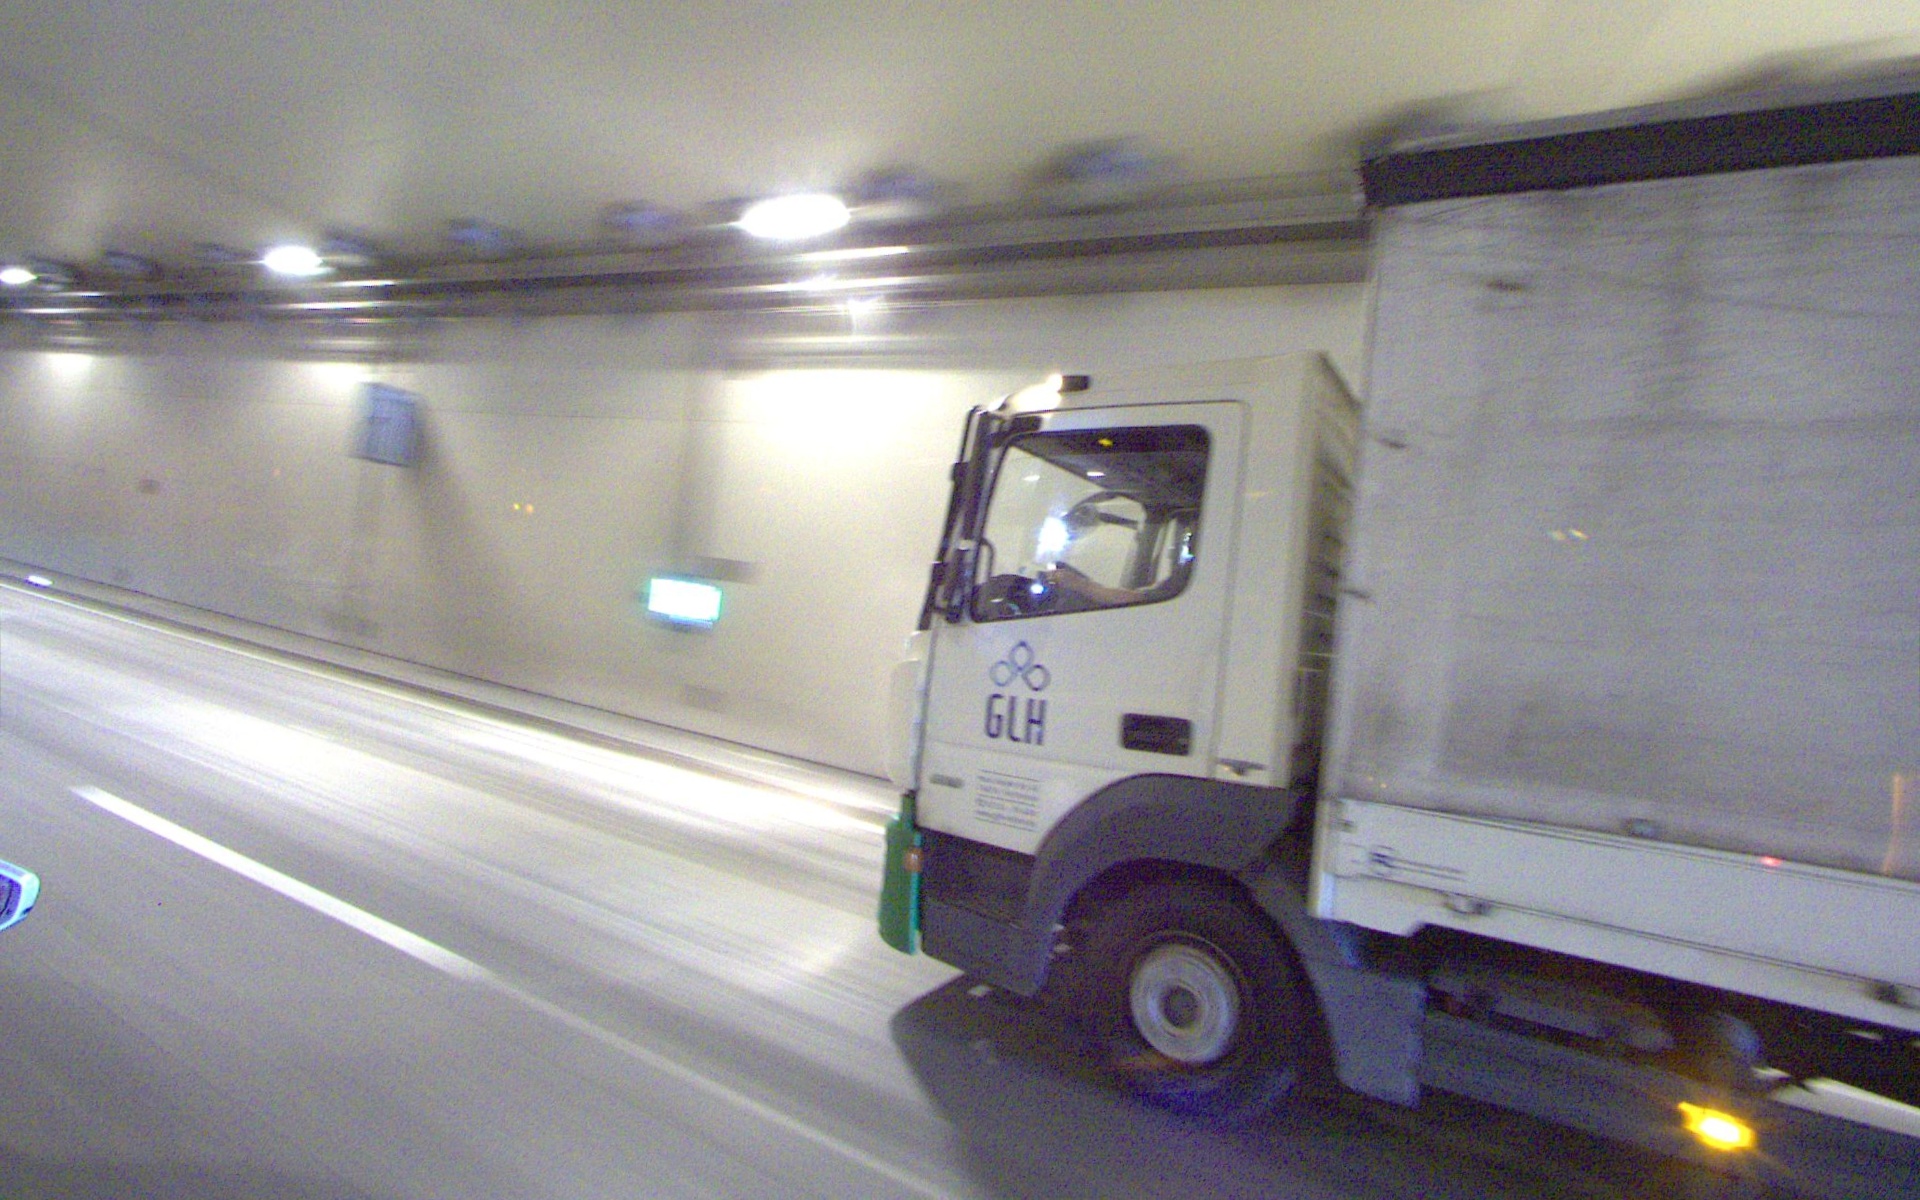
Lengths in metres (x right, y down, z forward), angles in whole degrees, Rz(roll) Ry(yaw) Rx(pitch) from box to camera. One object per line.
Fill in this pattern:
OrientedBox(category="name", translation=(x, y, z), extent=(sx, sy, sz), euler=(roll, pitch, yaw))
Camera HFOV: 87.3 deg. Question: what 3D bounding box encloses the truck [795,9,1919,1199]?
OrientedBox(category="truck", translation=(3.273, 0.401, 3.128), extent=(7.121, 3.219, 2.559), euler=(7, 0, 29))
